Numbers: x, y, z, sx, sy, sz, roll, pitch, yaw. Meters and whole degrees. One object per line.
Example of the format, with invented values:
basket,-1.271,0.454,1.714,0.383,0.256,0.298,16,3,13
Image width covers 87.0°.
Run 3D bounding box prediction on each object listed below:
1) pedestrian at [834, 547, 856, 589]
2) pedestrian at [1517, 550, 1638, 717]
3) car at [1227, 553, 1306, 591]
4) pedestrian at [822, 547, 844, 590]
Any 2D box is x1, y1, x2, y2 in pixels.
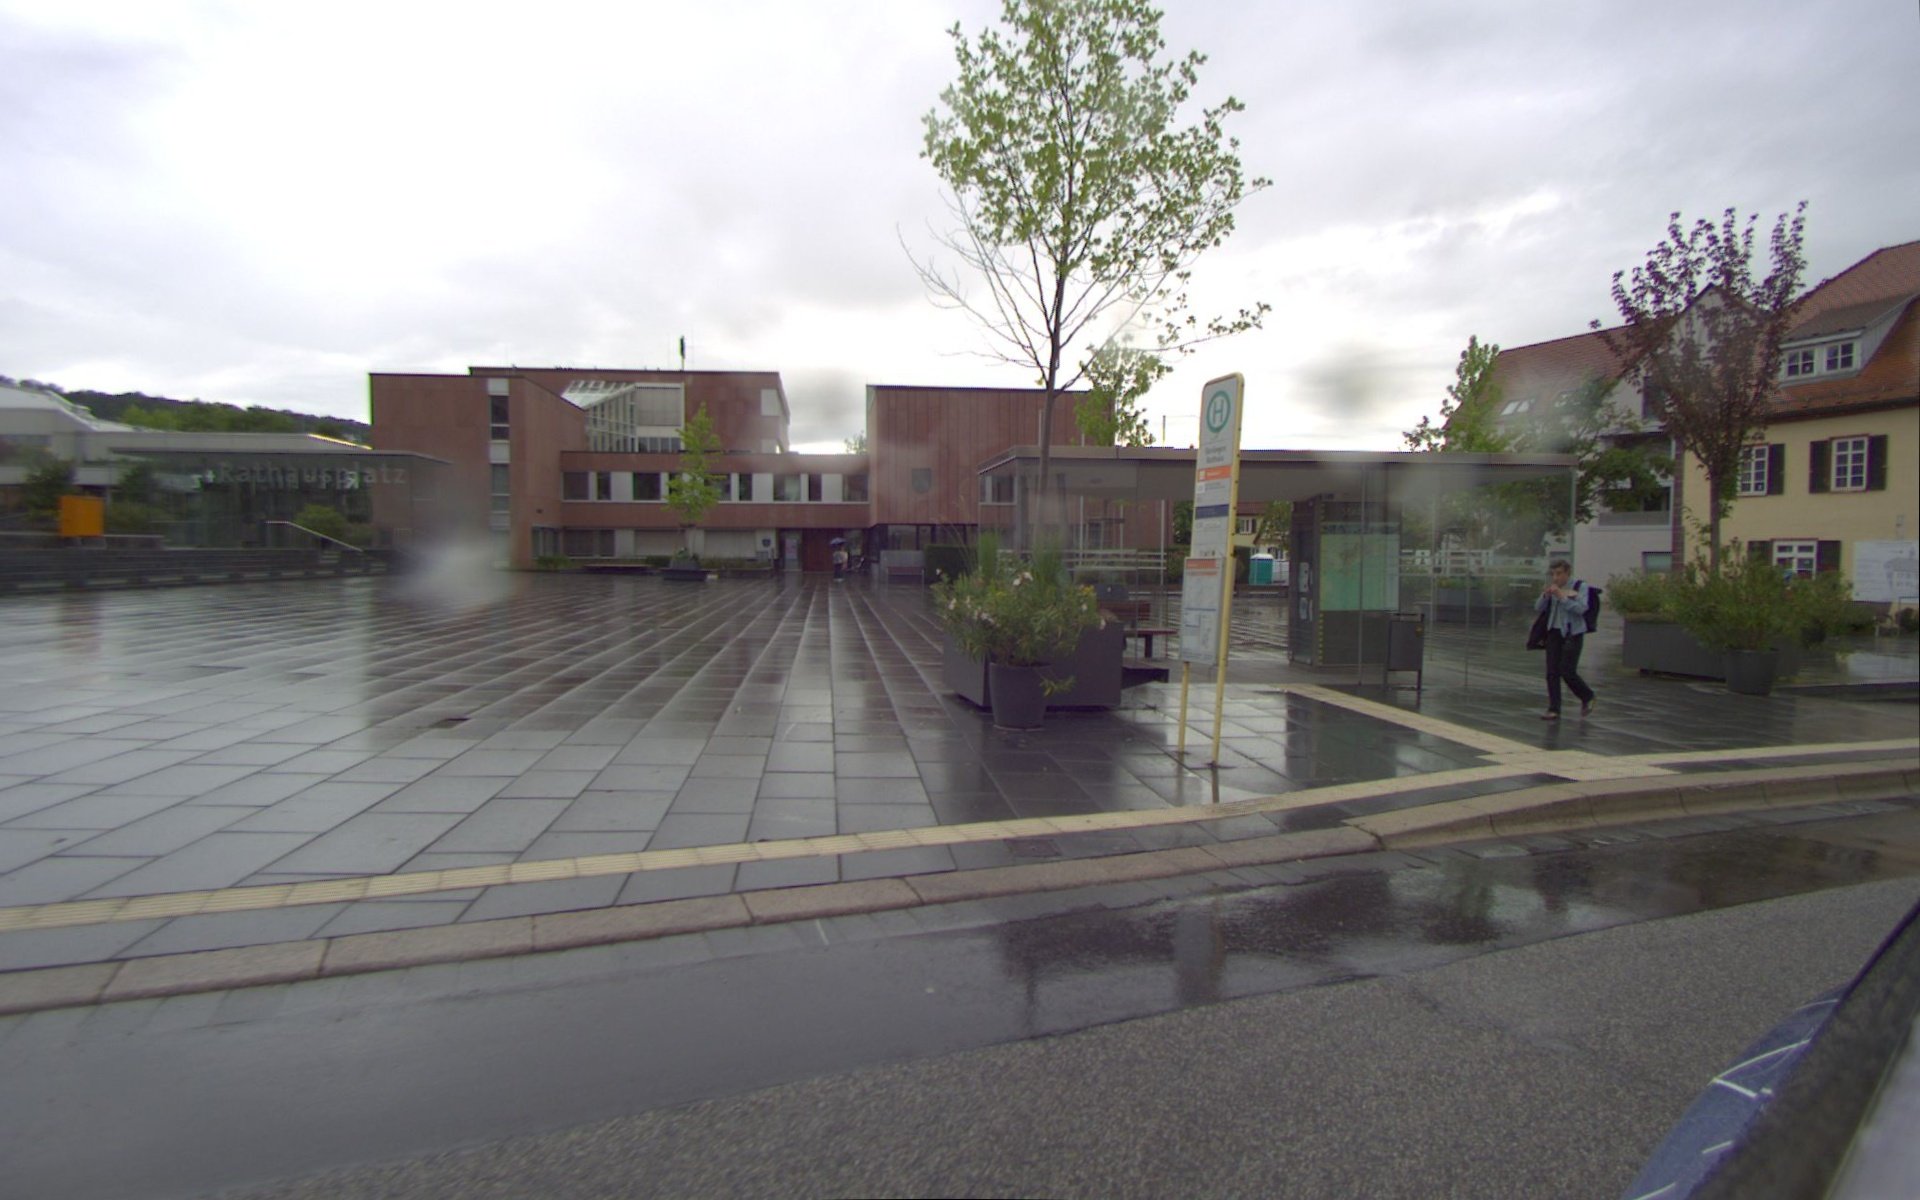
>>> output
pedestrian,-5.683,-1.567,49.917,0.725,2.038,0.855,3,3,27
pedestrian,6.315,0.317,10.374,0.679,1.636,0.732,0,3,-17
car,19.474,-1.799,64.487,4.286,2.244,2.004,1,3,-9
pedestrian,-6.160,-1.540,49.126,0.725,2.038,0.855,3,3,27
